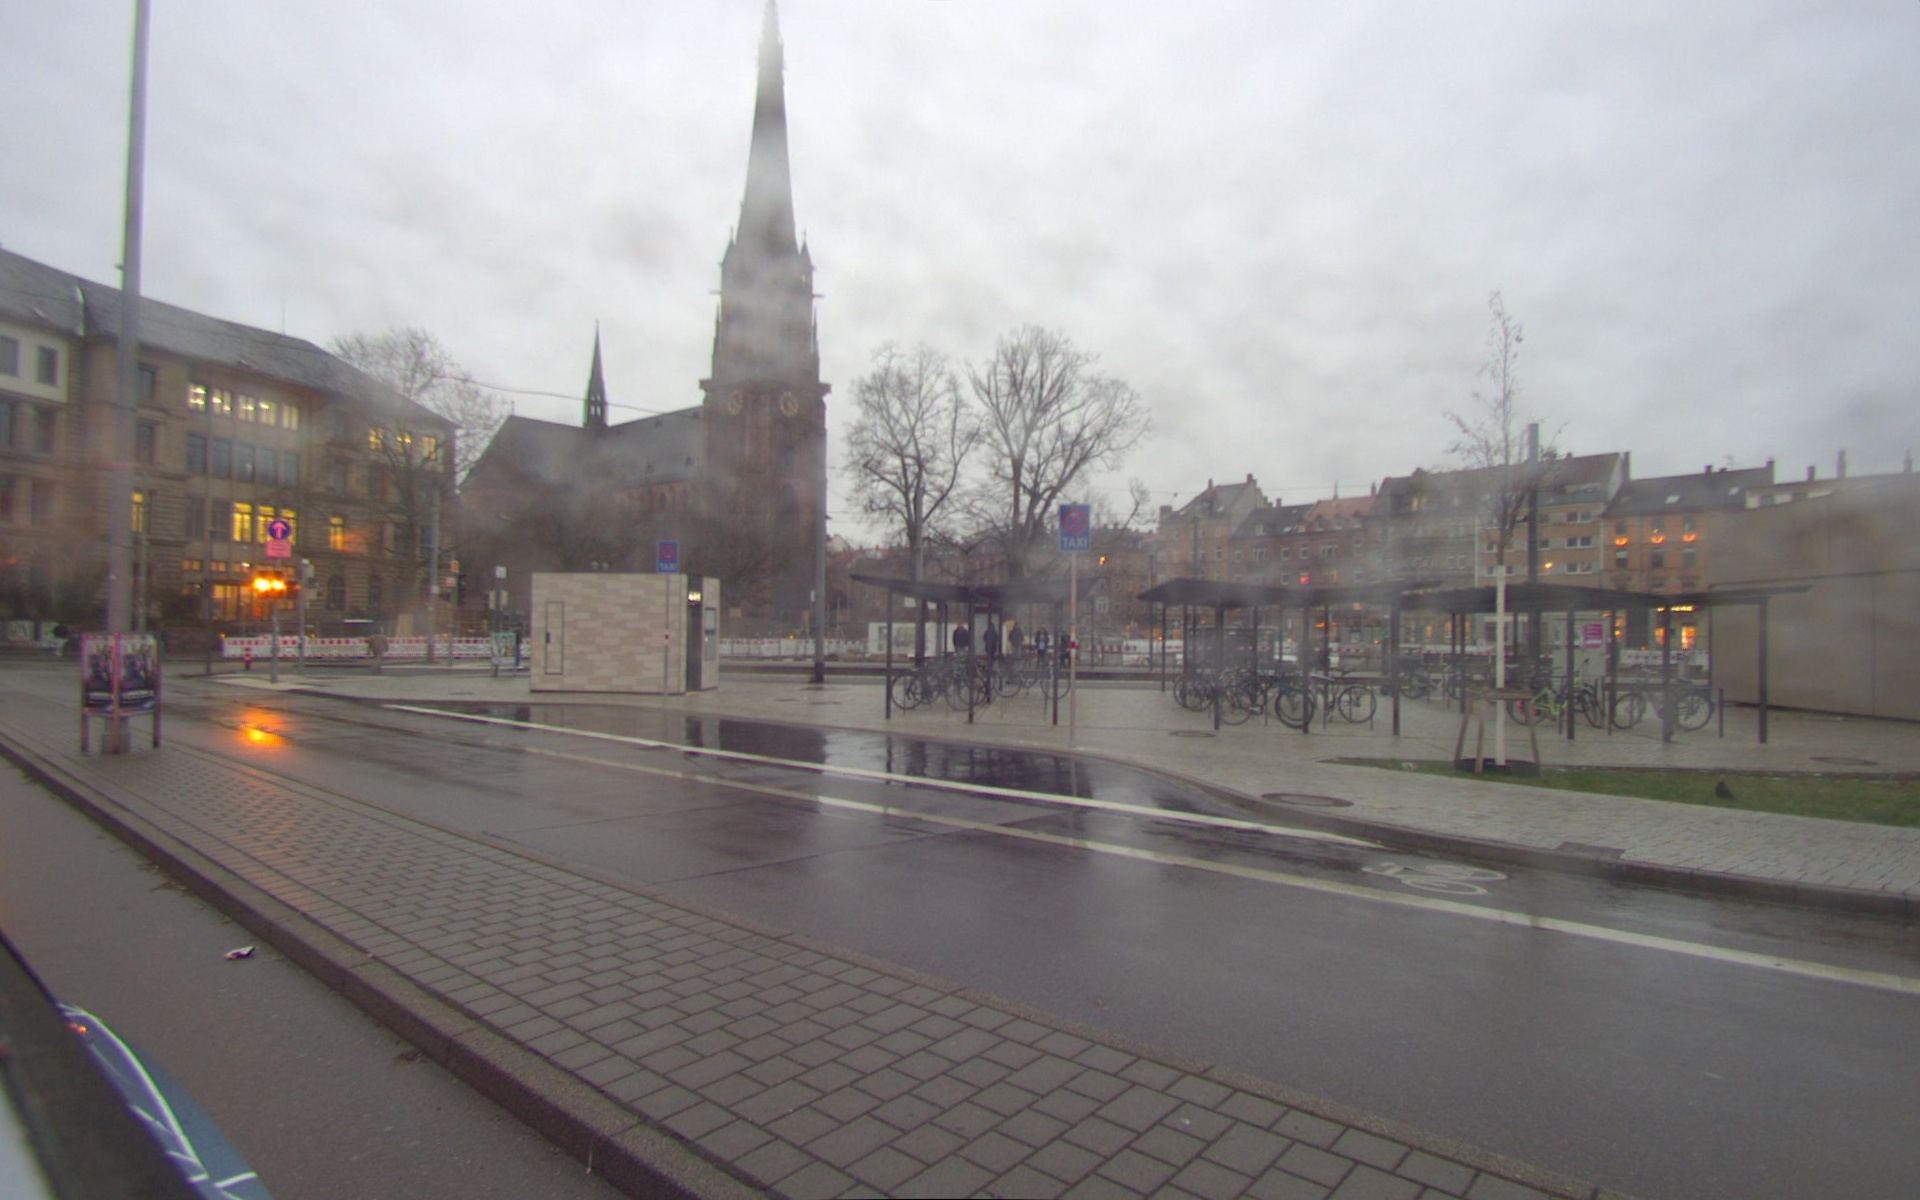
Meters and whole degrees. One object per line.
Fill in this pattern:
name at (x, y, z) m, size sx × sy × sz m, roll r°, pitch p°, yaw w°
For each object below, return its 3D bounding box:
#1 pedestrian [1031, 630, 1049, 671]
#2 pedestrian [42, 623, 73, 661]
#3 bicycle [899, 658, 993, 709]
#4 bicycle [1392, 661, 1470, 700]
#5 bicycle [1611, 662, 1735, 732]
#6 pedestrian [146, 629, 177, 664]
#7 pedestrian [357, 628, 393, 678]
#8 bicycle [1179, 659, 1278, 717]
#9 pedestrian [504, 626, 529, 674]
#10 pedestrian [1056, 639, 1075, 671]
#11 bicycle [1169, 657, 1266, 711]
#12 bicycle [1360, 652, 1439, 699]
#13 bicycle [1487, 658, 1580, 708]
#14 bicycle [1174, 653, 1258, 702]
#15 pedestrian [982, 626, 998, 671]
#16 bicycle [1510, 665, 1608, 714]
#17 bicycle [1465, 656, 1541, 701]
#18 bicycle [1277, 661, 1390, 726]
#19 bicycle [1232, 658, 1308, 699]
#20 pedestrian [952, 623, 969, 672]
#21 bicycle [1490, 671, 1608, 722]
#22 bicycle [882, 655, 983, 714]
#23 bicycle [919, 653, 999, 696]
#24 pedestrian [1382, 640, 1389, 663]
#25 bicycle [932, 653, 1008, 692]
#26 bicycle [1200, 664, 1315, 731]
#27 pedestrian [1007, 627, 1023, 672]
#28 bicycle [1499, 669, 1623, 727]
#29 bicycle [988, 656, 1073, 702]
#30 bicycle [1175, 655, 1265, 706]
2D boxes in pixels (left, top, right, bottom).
pedestrian at (3.035, 1.906, 38.327) m, size 0.580 × 1.513 × 0.675 m, roll -1°, pitch 0°, yaw -1°
pedestrian at (-45.975, 2.123, 51.540) m, size 0.964 × 1.915 × 0.671 m, roll 1°, pitch -2°, yaw 13°
bicycle at (-0.287, 1.730, 21.099) m, size 1.905 × 0.993 × 0.473 m, roll 1°, pitch -1°, yaw 11°
bicycle at (11.621, 1.987, 24.986) m, size 1.672 × 0.898 × 0.474 m, roll 1°, pitch -1°, yaw 5°
bicycle at (12.689, 1.721, 18.040) m, size 1.731 × 1.165 × 0.617 m, roll 1°, pitch -1°, yaw 2°
pedestrian at (-41.222, 2.398, 52.263) m, size 0.918 × 1.737 × 0.824 m, roll 0°, pitch -3°, yaw 11°
pedestrian at (-20.353, 1.837, 35.253) m, size 0.760 × 1.673 × 1.211 m, roll -1°, pitch 0°, yaw -14°
bicycle at (5.432, 1.770, 20.542) m, size 1.905 × 1.078 × 0.473 m, roll 1°, pitch -1°, yaw 11°
pedestrian at (-17.003, 1.900, 38.779) m, size 0.813 × 1.808 × 0.672 m, roll -1°, pitch 0°, yaw -28°
pedestrian at (3.981, 2.068, 38.319) m, size 0.610 × 1.165 × 0.806 m, roll -1°, pitch 0°, yaw -1°
bicycle at (5.431, 1.769, 21.396) m, size 1.899 × 1.078 × 0.474 m, roll 1°, pitch -1°, yaw 2°
bicycle at (11.185, 1.921, 25.797) m, size 1.780 × 1.116 × 0.473 m, roll 1°, pitch -1°, yaw 11°
bicycle at (13.253, 1.905, 23.412) m, size 1.810 × 1.081 × 0.474 m, roll 1°, pitch -1°, yaw 8°
bicycle at (6.064, 1.825, 24.035) m, size 1.905 × 1.078 × 0.473 m, roll 1°, pitch -1°, yaw 11°
pedestrian at (1.149, 1.855, 38.647) m, size 0.556 × 1.664 × 0.540 m, roll -1°, pitch 0°, yaw -1°
bicycle at (12.900, 1.916, 21.825) m, size 1.751 × 0.963 × 0.473 m, roll 1°, pitch -1°, yaw 11°
bicycle at (13.233, 1.912, 24.659) m, size 1.551 × 1.044 × 0.521 m, roll 1°, pitch -1°, yaw 1°
bicycle at (6.945, 1.731, 18.861) m, size 1.905 × 1.129 × 0.473 m, roll 1°, pitch -1°, yaw 11°
bicycle at (7.663, 1.938, 25.065) m, size 1.729 × 0.946 × 0.474 m, roll 1°, pitch -1°, yaw 7°
pedestrian at (0.005, 1.797, 38.573) m, size 0.619 × 1.808 × 0.672 m, roll -1°, pitch 0°, yaw -1°
bicycle at (11.367, 1.858, 19.566) m, size 1.905 × 0.898 × 0.473 m, roll 1°, pitch -1°, yaw 11°
bicycle at (-0.538, 1.649, 19.862) m, size 1.905 × 1.078 × 0.473 m, roll 1°, pitch -1°, yaw 11°
bicycle at (-0.014, 1.824, 24.864) m, size 1.905 × 0.993 × 0.473 m, roll 1°, pitch -1°, yaw 11°
pedestrian at (38.264, 4.642, 90.917) m, size 0.436 × 2.029 × 0.414 m, roll 3°, pitch -4°, yaw -41°
bicycle at (0.271, 1.864, 26.121) m, size 1.905 × 0.917 × 0.473 m, roll 1°, pitch -1°, yaw 11°
bicycle at (5.256, 1.716, 17.951) m, size 1.905 × 1.078 × 0.473 m, roll 1°, pitch -1°, yaw 11°
pedestrian at (2.069, 1.851, 38.109) m, size 0.543 × 1.648 × 0.571 m, roll -1°, pitch 0°, yaw -1°
bicycle at (11.126, 1.810, 18.779) m, size 1.905 × 0.983 × 0.473 m, roll 1°, pitch -1°, yaw 11°
bicycle at (1.639, 1.817, 23.418) m, size 1.905 × 0.993 × 0.473 m, roll 1°, pitch -1°, yaw 11°
bicycle at (5.850, 1.805, 22.844) m, size 1.905 × 1.078 × 0.473 m, roll 1°, pitch -1°, yaw 11°
